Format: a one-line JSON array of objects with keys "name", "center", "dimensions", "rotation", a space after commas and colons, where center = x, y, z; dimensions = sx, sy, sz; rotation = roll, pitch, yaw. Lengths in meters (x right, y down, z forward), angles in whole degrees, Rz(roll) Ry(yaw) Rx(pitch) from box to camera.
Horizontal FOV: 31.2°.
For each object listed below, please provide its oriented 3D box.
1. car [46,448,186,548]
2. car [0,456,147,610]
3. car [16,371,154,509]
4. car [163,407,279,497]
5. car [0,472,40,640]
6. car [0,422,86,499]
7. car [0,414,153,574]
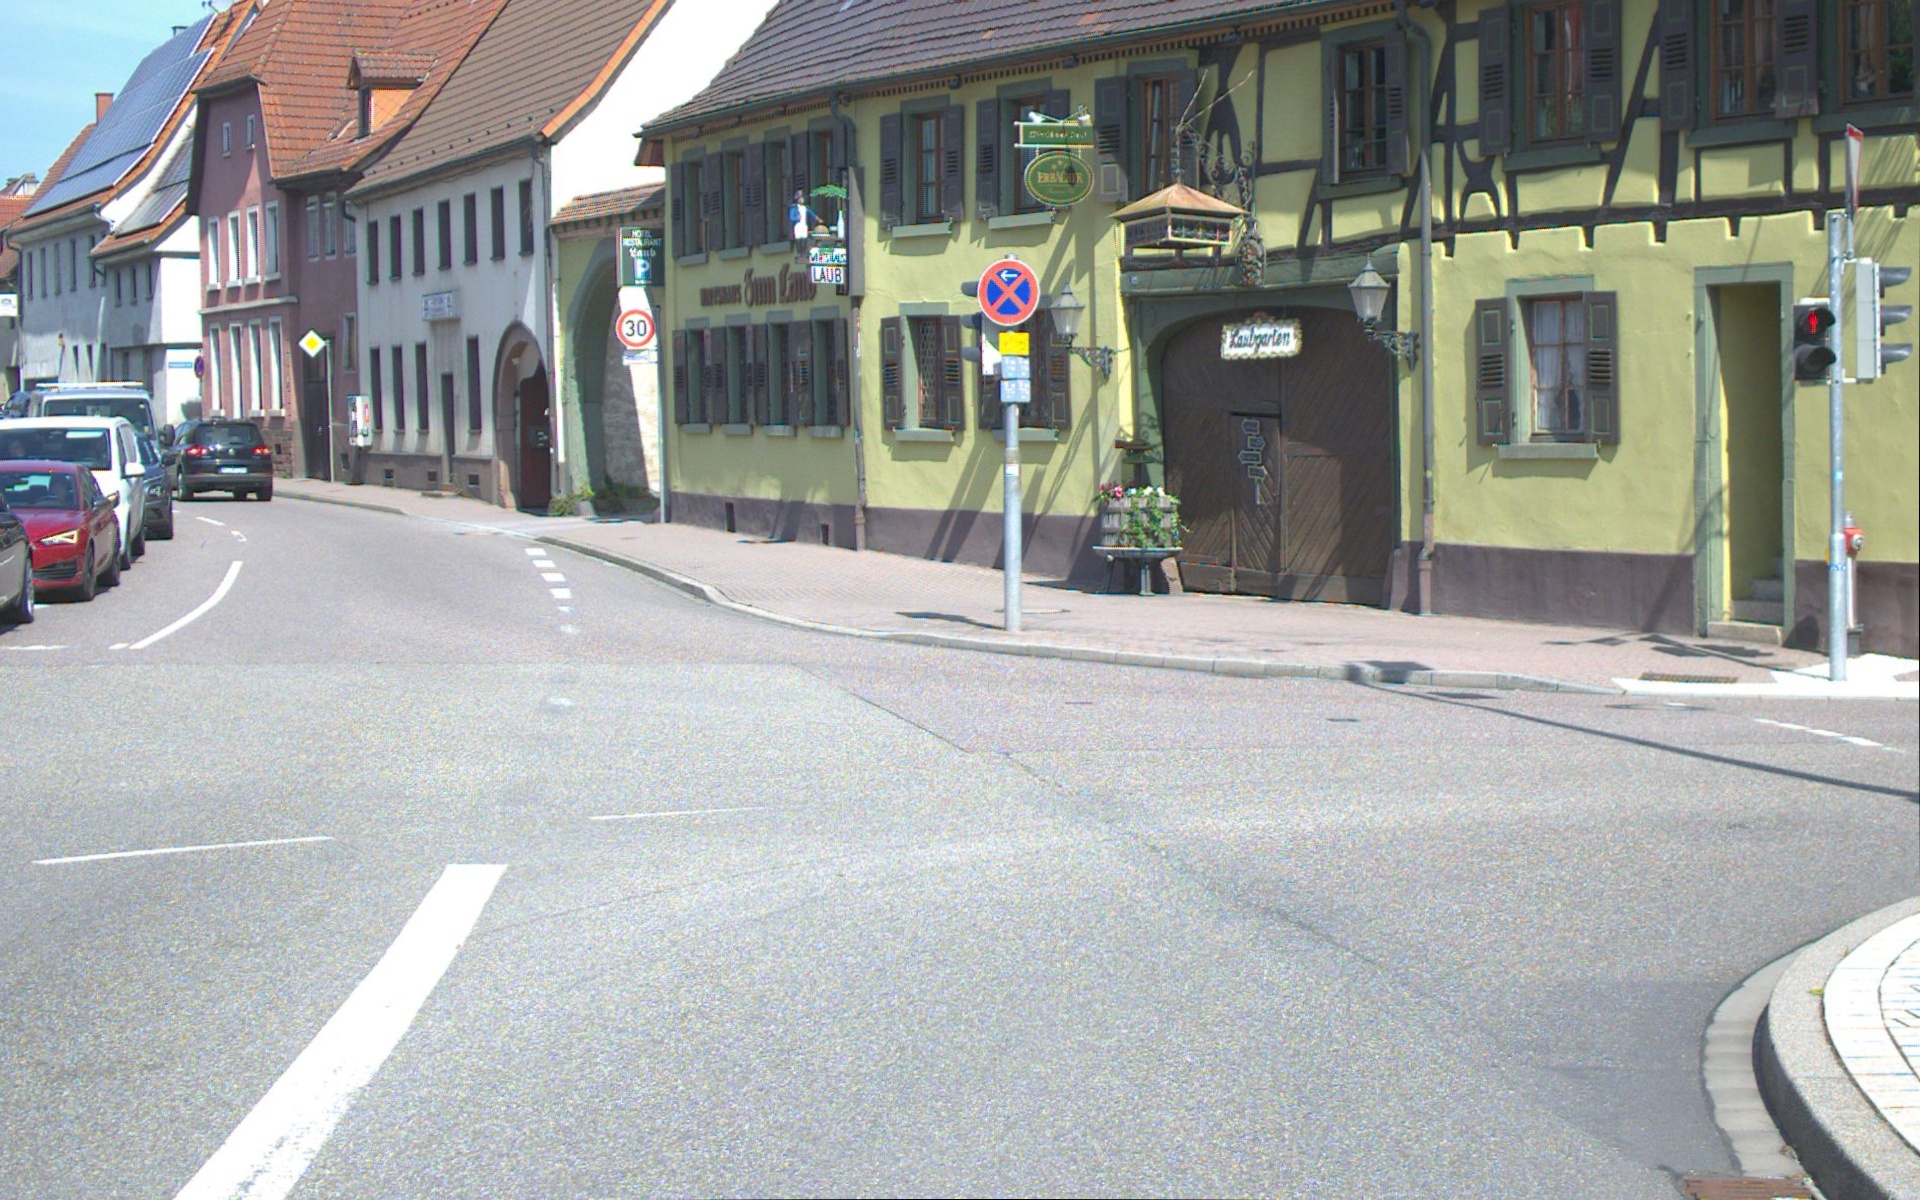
[{"name": "car", "center": [-12.516, -1.530, 50.867], "dimensions": [1.574, 1.379, 3.561], "rotation": [1, 2, -21]}, {"name": "car", "center": [-10.278, -0.787, 37.695], "dimensions": [2.158, 1.510, 4.949], "rotation": [0, 3, -8]}, {"name": "car", "center": [-15.097, -2.752, 59.159], "dimensions": [1.757, 2.238, 4.554], "rotation": [1, 2, -21]}, {"name": "car", "center": [-14.875, -2.993, 69.083], "dimensions": [1.820, 1.732, 4.007], "rotation": [-2, 3, -18]}, {"name": "car", "center": [-9.409, -0.403, 30.716], "dimensions": [1.820, 1.429, 4.250], "rotation": [0, 3, -9]}, {"name": "car", "center": [-19.366, -2.937, 71.897], "dimensions": [1.785, 1.521, 4.007], "rotation": [-2, 3, -18]}, {"name": "car", "center": [-11.362, -1.413, 43.908], "dimensions": [1.820, 1.899, 4.966], "rotation": [-1, 3, -11]}]
